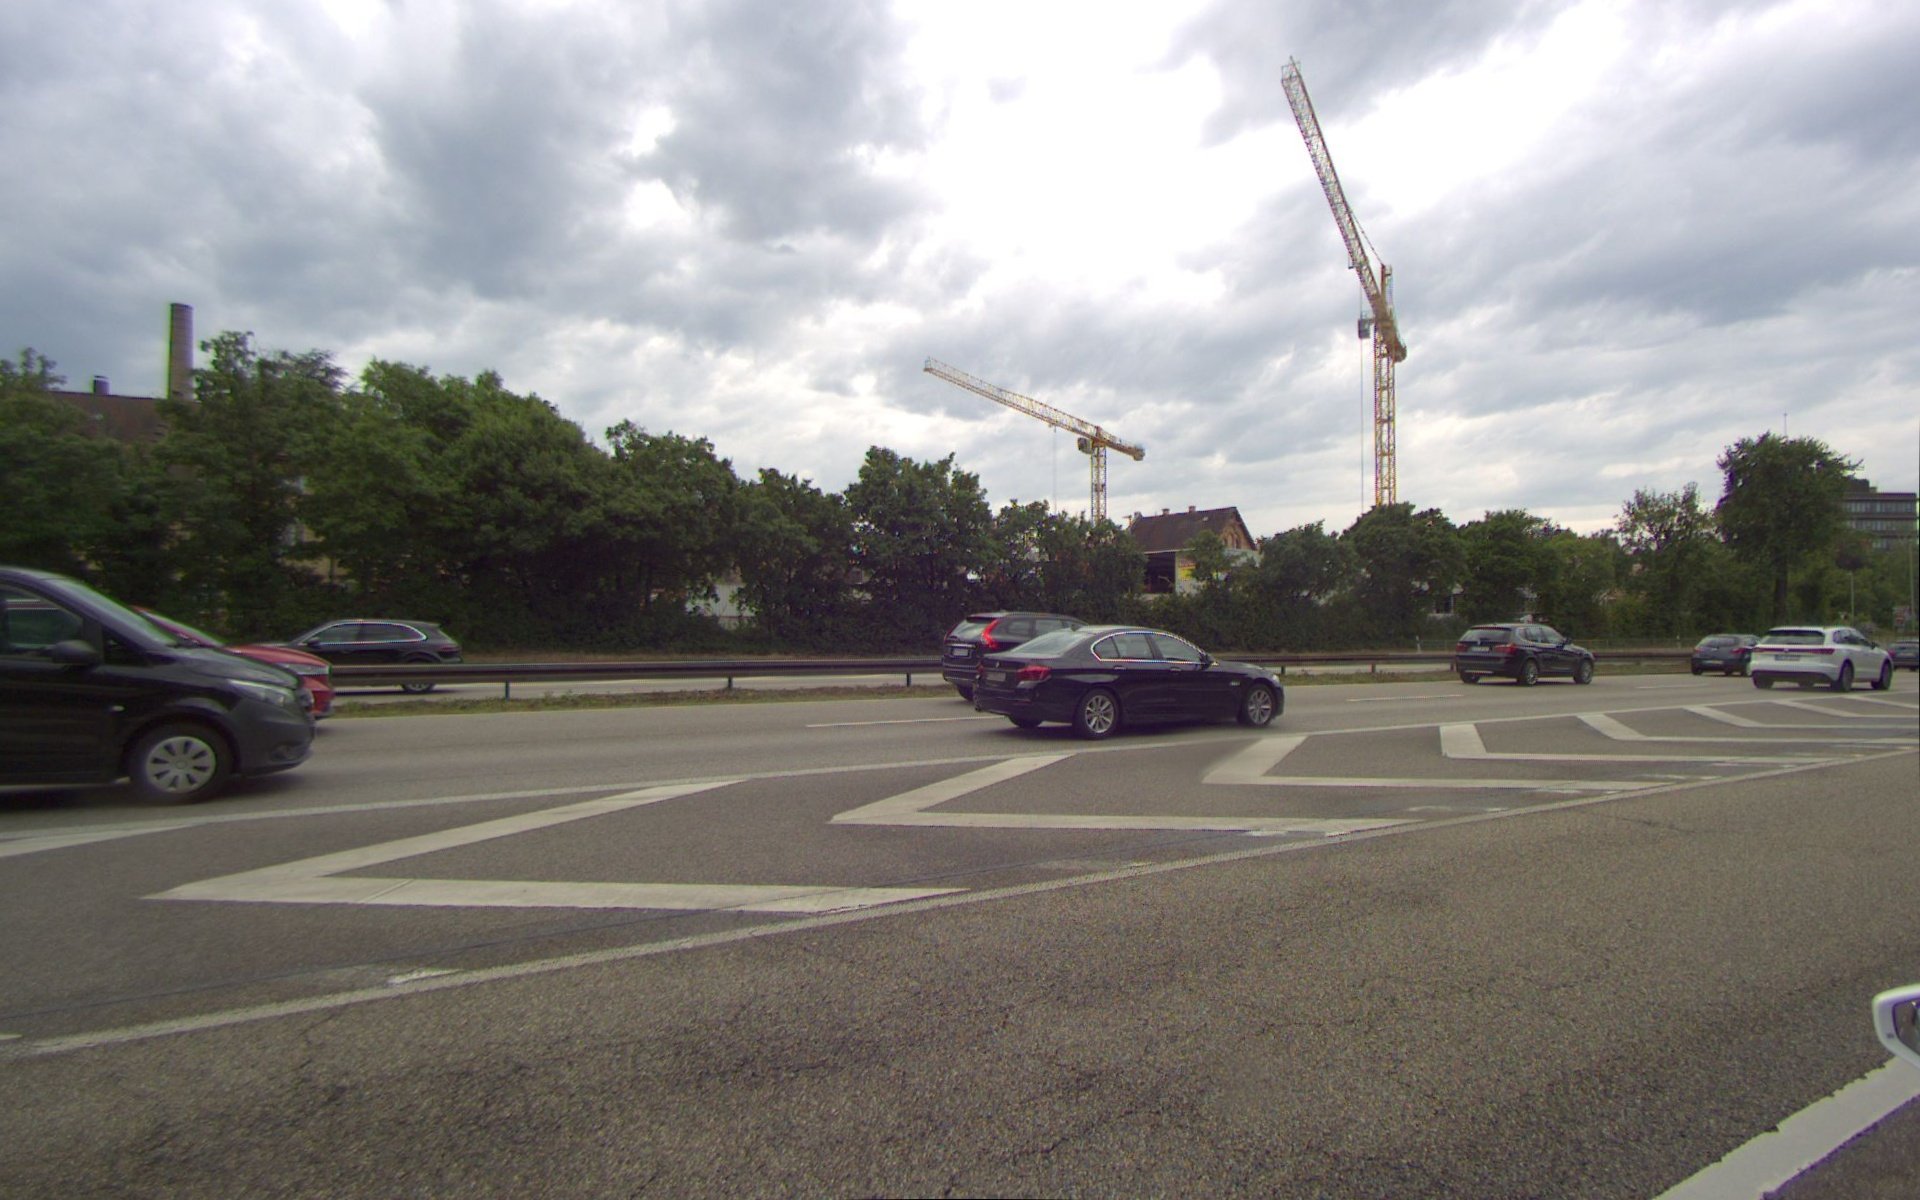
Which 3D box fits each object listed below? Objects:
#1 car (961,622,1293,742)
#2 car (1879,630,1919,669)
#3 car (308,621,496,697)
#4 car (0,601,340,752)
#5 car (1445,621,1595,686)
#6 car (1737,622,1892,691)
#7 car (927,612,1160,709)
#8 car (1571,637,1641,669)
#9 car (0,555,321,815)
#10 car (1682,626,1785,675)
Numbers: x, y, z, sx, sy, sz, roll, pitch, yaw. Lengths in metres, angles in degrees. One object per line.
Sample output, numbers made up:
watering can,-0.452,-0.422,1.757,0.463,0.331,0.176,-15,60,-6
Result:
car,2.438,1.068,14.265,4.609,1.476,1.705,1,-1,-29
car,43.046,2.199,45.133,3.693,1.654,1.678,1,0,-32
car,-12.738,1.310,23.055,3.637,1.617,1.619,1,-2,-31
car,-9.659,0.845,11.844,3.898,1.588,1.759,1,-2,-30
car,15.650,1.448,28.033,4.259,1.703,1.880,1,-2,-32
car,23.218,1.484,27.266,4.456,1.714,1.936,1,-2,-32
car,1.635,1.093,19.130,4.217,1.657,1.743,1,-1,-31
car,34.922,2.852,54.299,3.964,1.629,1.678,1,0,-32
car,-7.842,0.617,7.842,4.759,1.875,1.982,1,-1,-33
car,27.652,1.768,35.889,3.964,1.629,1.678,1,0,-32
